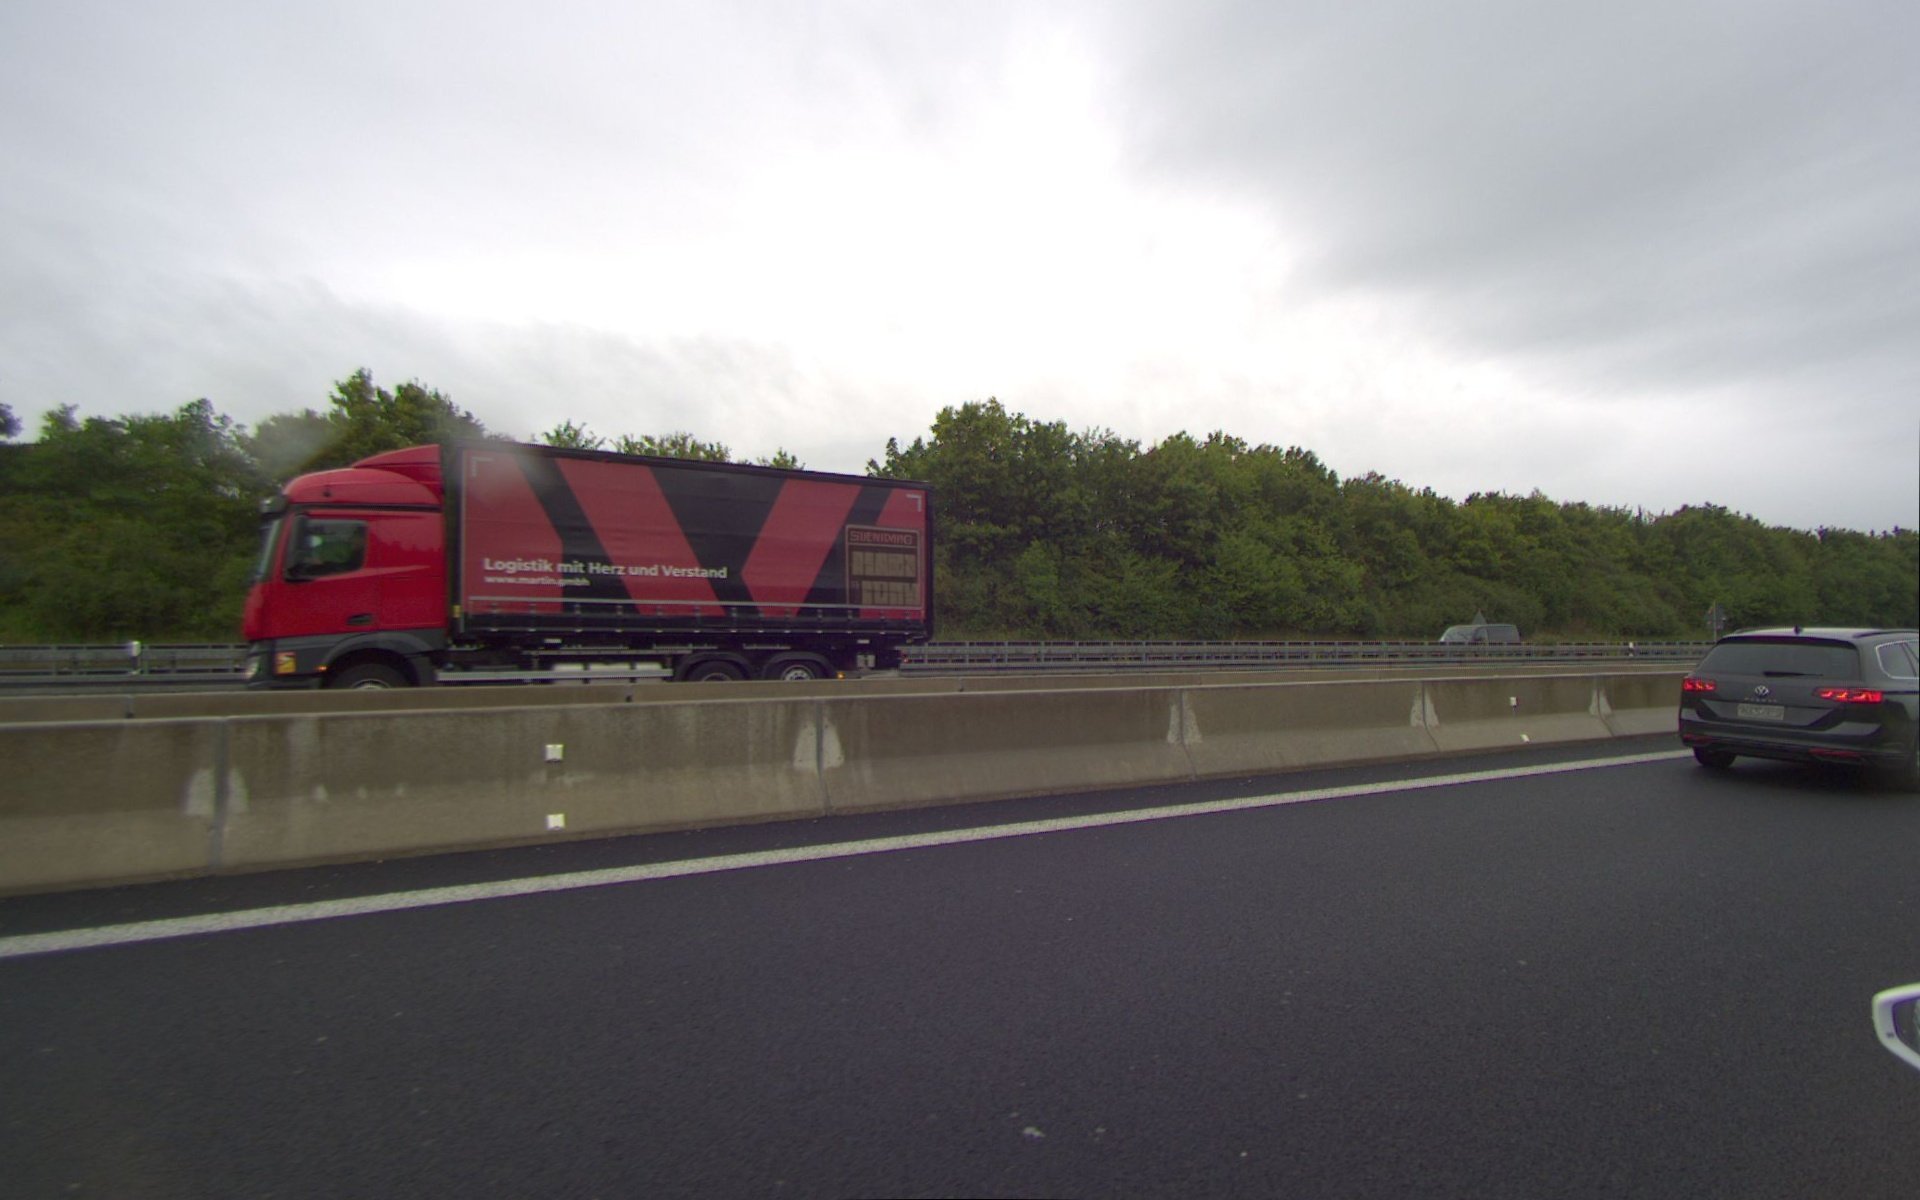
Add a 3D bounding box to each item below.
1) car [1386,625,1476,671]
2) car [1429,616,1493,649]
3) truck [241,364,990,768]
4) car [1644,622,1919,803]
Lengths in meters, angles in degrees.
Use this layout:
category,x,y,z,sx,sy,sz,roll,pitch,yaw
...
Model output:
category,x,y,z,sx,sy,sz,roll,pitch,yaw
car,21.677,2.176,46.197,4.226,2.040,1.667,1,-1,-30
car,31.747,2.063,63.575,3.952,2.040,1.742,1,-1,-30
truck,-4.825,-0.305,15.989,10.361,4.796,3.384,1,0,-30
car,9.297,1.014,10.352,4.743,1.478,1.780,1,-1,-29
